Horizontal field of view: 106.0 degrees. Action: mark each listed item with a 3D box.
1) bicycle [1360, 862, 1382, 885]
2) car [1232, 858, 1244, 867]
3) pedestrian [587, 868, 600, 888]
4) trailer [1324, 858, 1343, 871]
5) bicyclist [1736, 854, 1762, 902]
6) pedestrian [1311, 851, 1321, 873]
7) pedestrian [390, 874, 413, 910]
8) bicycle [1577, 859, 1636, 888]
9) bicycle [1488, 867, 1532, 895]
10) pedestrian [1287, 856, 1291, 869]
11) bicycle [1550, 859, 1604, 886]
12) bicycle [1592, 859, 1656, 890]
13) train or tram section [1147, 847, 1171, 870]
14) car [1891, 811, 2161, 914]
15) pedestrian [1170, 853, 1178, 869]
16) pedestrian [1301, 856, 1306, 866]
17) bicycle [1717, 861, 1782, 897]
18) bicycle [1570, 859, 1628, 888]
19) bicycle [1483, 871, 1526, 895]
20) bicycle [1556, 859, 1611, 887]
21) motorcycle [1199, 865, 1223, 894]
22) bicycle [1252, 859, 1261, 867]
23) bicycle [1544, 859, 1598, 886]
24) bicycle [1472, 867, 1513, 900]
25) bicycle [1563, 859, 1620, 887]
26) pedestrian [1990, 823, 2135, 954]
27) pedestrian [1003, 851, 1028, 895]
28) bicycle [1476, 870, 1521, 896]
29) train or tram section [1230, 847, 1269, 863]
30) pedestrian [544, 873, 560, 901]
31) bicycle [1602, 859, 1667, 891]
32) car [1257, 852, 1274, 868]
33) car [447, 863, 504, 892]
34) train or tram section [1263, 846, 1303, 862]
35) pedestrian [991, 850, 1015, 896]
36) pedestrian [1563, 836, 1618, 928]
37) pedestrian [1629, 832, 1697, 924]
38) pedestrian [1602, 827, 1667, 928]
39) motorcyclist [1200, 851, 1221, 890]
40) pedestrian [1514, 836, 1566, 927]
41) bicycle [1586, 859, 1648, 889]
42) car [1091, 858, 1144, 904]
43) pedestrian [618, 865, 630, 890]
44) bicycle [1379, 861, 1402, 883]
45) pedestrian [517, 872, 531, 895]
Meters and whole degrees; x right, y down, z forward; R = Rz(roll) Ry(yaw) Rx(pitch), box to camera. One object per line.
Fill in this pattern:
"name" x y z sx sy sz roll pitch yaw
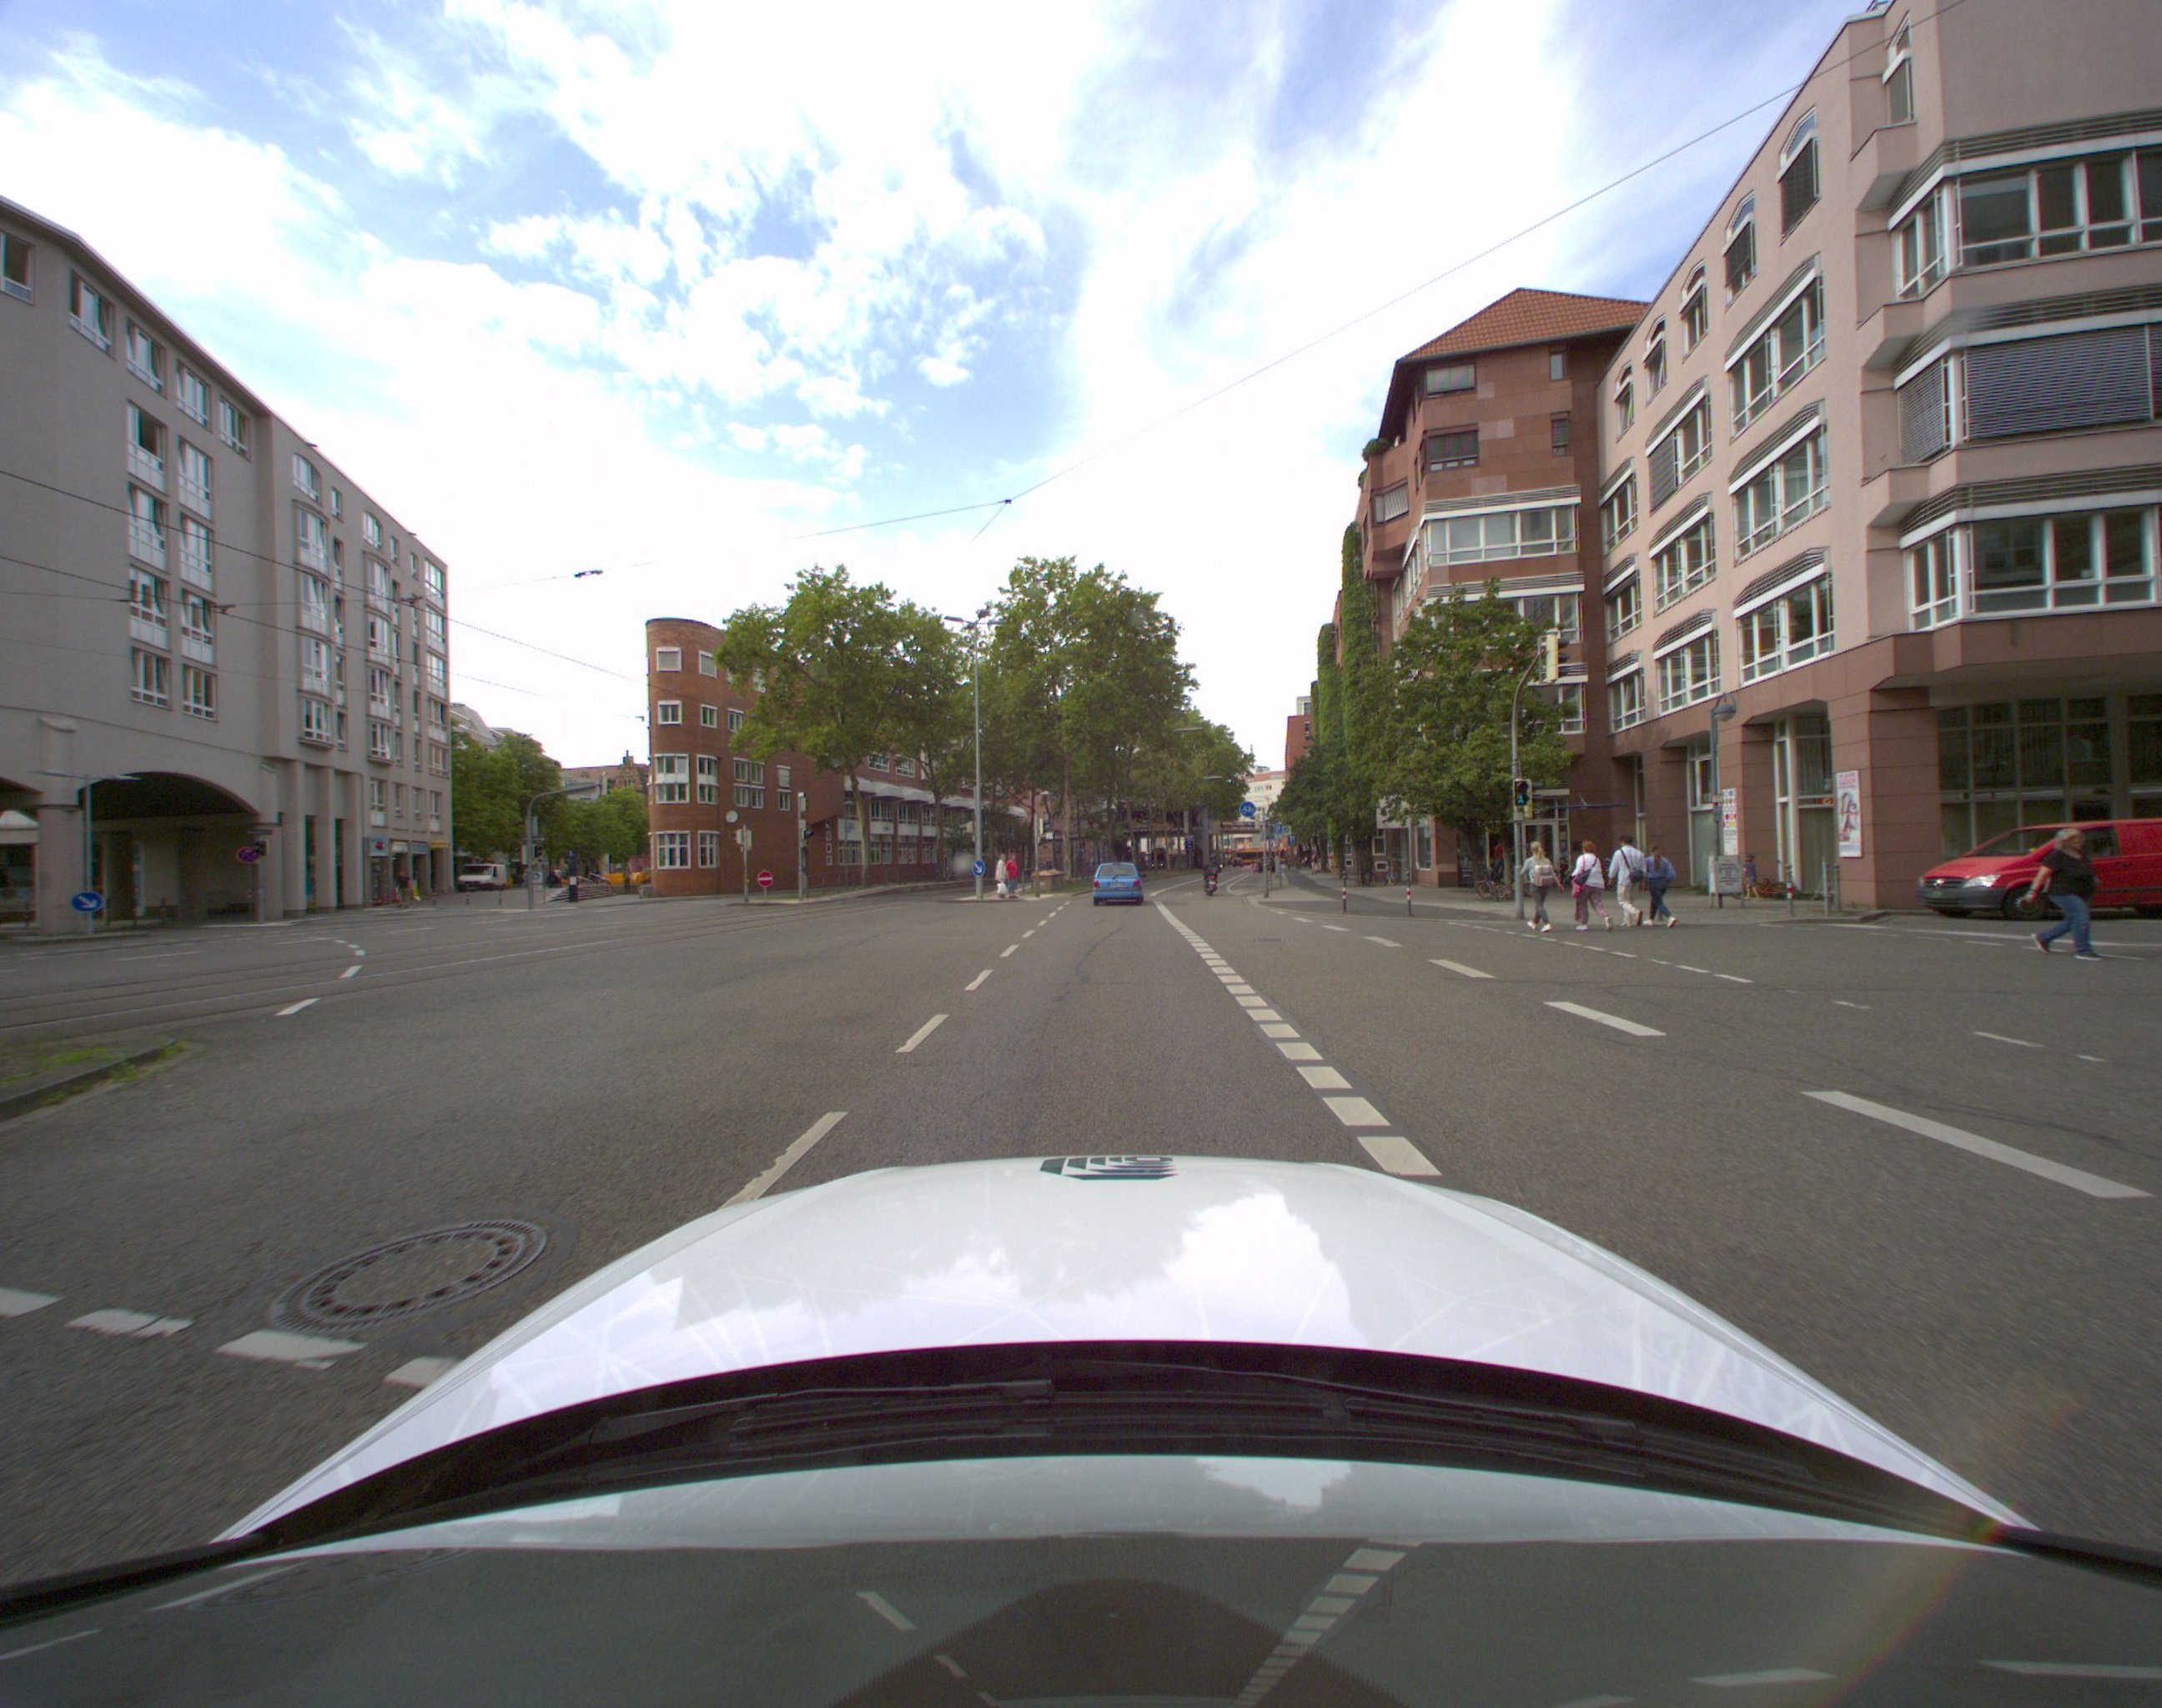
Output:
"bicycle" 13.499 0.900 37.938 0.613 1.008 1.739 -2 0 8
"car" 29.049 1.516 150.662 1.873 1.624 4.016 -2 0 14
"pedestrian" -51.100 2.508 85.386 0.866 2.014 1.334 -1 0 -22
"trailer" 21.561 0.922 69.581 0.982 1.059 1.619 -2 -1 38
"bicyclist" 17.826 0.642 21.724 0.491 1.244 0.483 -2 -1 40
"pedestrian" 19.638 0.649 68.074 0.642 1.859 0.785 -2 -1 12
"pedestrian" -32.813 1.806 39.334 0.676 1.679 0.747 -1 0 -25
"bicycle" 18.867 0.700 29.264 1.719 1.008 0.425 -2 -1 9
"bicycle" 14.910 0.935 28.312 1.287 0.868 0.456 -5 -2 24
"pedestrian" 28.122 1.189 110.065 0.506 1.759 0.541 -2 -1 13
"bicycle" 19.066 0.709 31.295 1.719 1.008 0.432 -2 -1 9
"bicycle" 18.571 0.711 27.884 1.719 1.008 0.548 -2 -1 9
"train or tram section" 12.253 0.702 127.144 2.372 3.254 8.849 -2 -1 13
"car" 19.281 0.172 15.705 4.791 1.826 2.008 -2 -2 14
"pedestrian" 10.545 0.782 92.207 0.723 1.859 0.873 -2 -1 14
"pedestrian" 33.711 1.027 123.276 0.665 1.561 0.730 -2 -1 9
"bicycle" 17.826 0.657 21.722 1.303 0.915 0.478 -2 0 40
"bicycle" 18.916 0.702 29.752 1.719 1.008 0.480 -2 -1 9
"bicycle" 14.542 0.999 27.998 1.287 0.814 0.447 -2 -1 24
"bicycle" 19.003 0.706 30.796 1.719 1.008 0.438 -2 -1 9
"motorcycle" 5.240 1.012 32.954 0.763 1.107 2.211 -2 -1 6
"bicycle" 21.691 1.119 100.646 0.562 1.008 2.008 -2 0 -2
"bicycle" 19.108 0.707 31.786 1.719 1.008 0.473 -2 -1 9
"bicycle" 13.263 0.931 26.283 0.613 1.008 1.739 -2 0 7
"bicycle" 18.966 0.703 30.279 1.719 1.008 0.472 -2 -1 9
"pedestrian" 12.220 0.416 10.176 0.671 1.538 0.950 -2 -1 10
"pedestrian" -2.555 0.738 31.888 0.547 1.718 0.896 -2 -1 29
"bicycle" 14.091 0.968 27.532 1.288 0.838 0.456 -2 -1 20
"train or tram section" 36.336 0.134 175.048 8.846 3.254 2.373 -1 -1 -31
"pedestrian" -38.652 2.412 59.472 0.793 1.964 0.799 -1 0 -22
"bicycle" 18.523 0.711 27.276 1.719 1.008 0.548 -2 -1 9
"car" 20.063 0.643 88.353 1.686 1.601 4.016 -2 0 14
"car" -42.705 1.630 57.542 2.002 1.937 4.908 -1 0 -22
"train or tram section" 44.204 -0.077 178.347 8.339 3.254 2.387 -2 -1 -13
"pedestrian" -2.953 0.733 31.010 0.548 1.718 0.895 -2 -1 20
"pedestrian" 9.240 0.500 14.782 0.514 1.616 0.853 -2 0 9
"pedestrian" 11.140 0.451 15.627 0.647 1.701 1.025 -2 0 10
"pedestrian" 10.458 0.434 15.406 0.672 1.828 0.853 -2 0 9
"motorcyclist" 5.227 0.669 32.883 0.755 1.519 1.019 -2 -1 6
"pedestrian" 8.424 0.494 14.981 0.514 1.616 0.852 -2 0 7
"bicycle" 18.703 0.706 28.465 1.719 1.008 0.548 -2 -1 9
"car" 1.305 0.868 27.663 1.633 1.386 3.847 -1 0 4
"pedestrian" -33.887 1.707 60.429 0.695 1.817 0.650 -1 -1 -24
"bicycle" 14.482 0.825 38.122 0.613 1.008 1.739 -2 0 8
"pedestrian" -41.276 2.200 60.337 0.695 1.671 0.825 -1 -1 -24
